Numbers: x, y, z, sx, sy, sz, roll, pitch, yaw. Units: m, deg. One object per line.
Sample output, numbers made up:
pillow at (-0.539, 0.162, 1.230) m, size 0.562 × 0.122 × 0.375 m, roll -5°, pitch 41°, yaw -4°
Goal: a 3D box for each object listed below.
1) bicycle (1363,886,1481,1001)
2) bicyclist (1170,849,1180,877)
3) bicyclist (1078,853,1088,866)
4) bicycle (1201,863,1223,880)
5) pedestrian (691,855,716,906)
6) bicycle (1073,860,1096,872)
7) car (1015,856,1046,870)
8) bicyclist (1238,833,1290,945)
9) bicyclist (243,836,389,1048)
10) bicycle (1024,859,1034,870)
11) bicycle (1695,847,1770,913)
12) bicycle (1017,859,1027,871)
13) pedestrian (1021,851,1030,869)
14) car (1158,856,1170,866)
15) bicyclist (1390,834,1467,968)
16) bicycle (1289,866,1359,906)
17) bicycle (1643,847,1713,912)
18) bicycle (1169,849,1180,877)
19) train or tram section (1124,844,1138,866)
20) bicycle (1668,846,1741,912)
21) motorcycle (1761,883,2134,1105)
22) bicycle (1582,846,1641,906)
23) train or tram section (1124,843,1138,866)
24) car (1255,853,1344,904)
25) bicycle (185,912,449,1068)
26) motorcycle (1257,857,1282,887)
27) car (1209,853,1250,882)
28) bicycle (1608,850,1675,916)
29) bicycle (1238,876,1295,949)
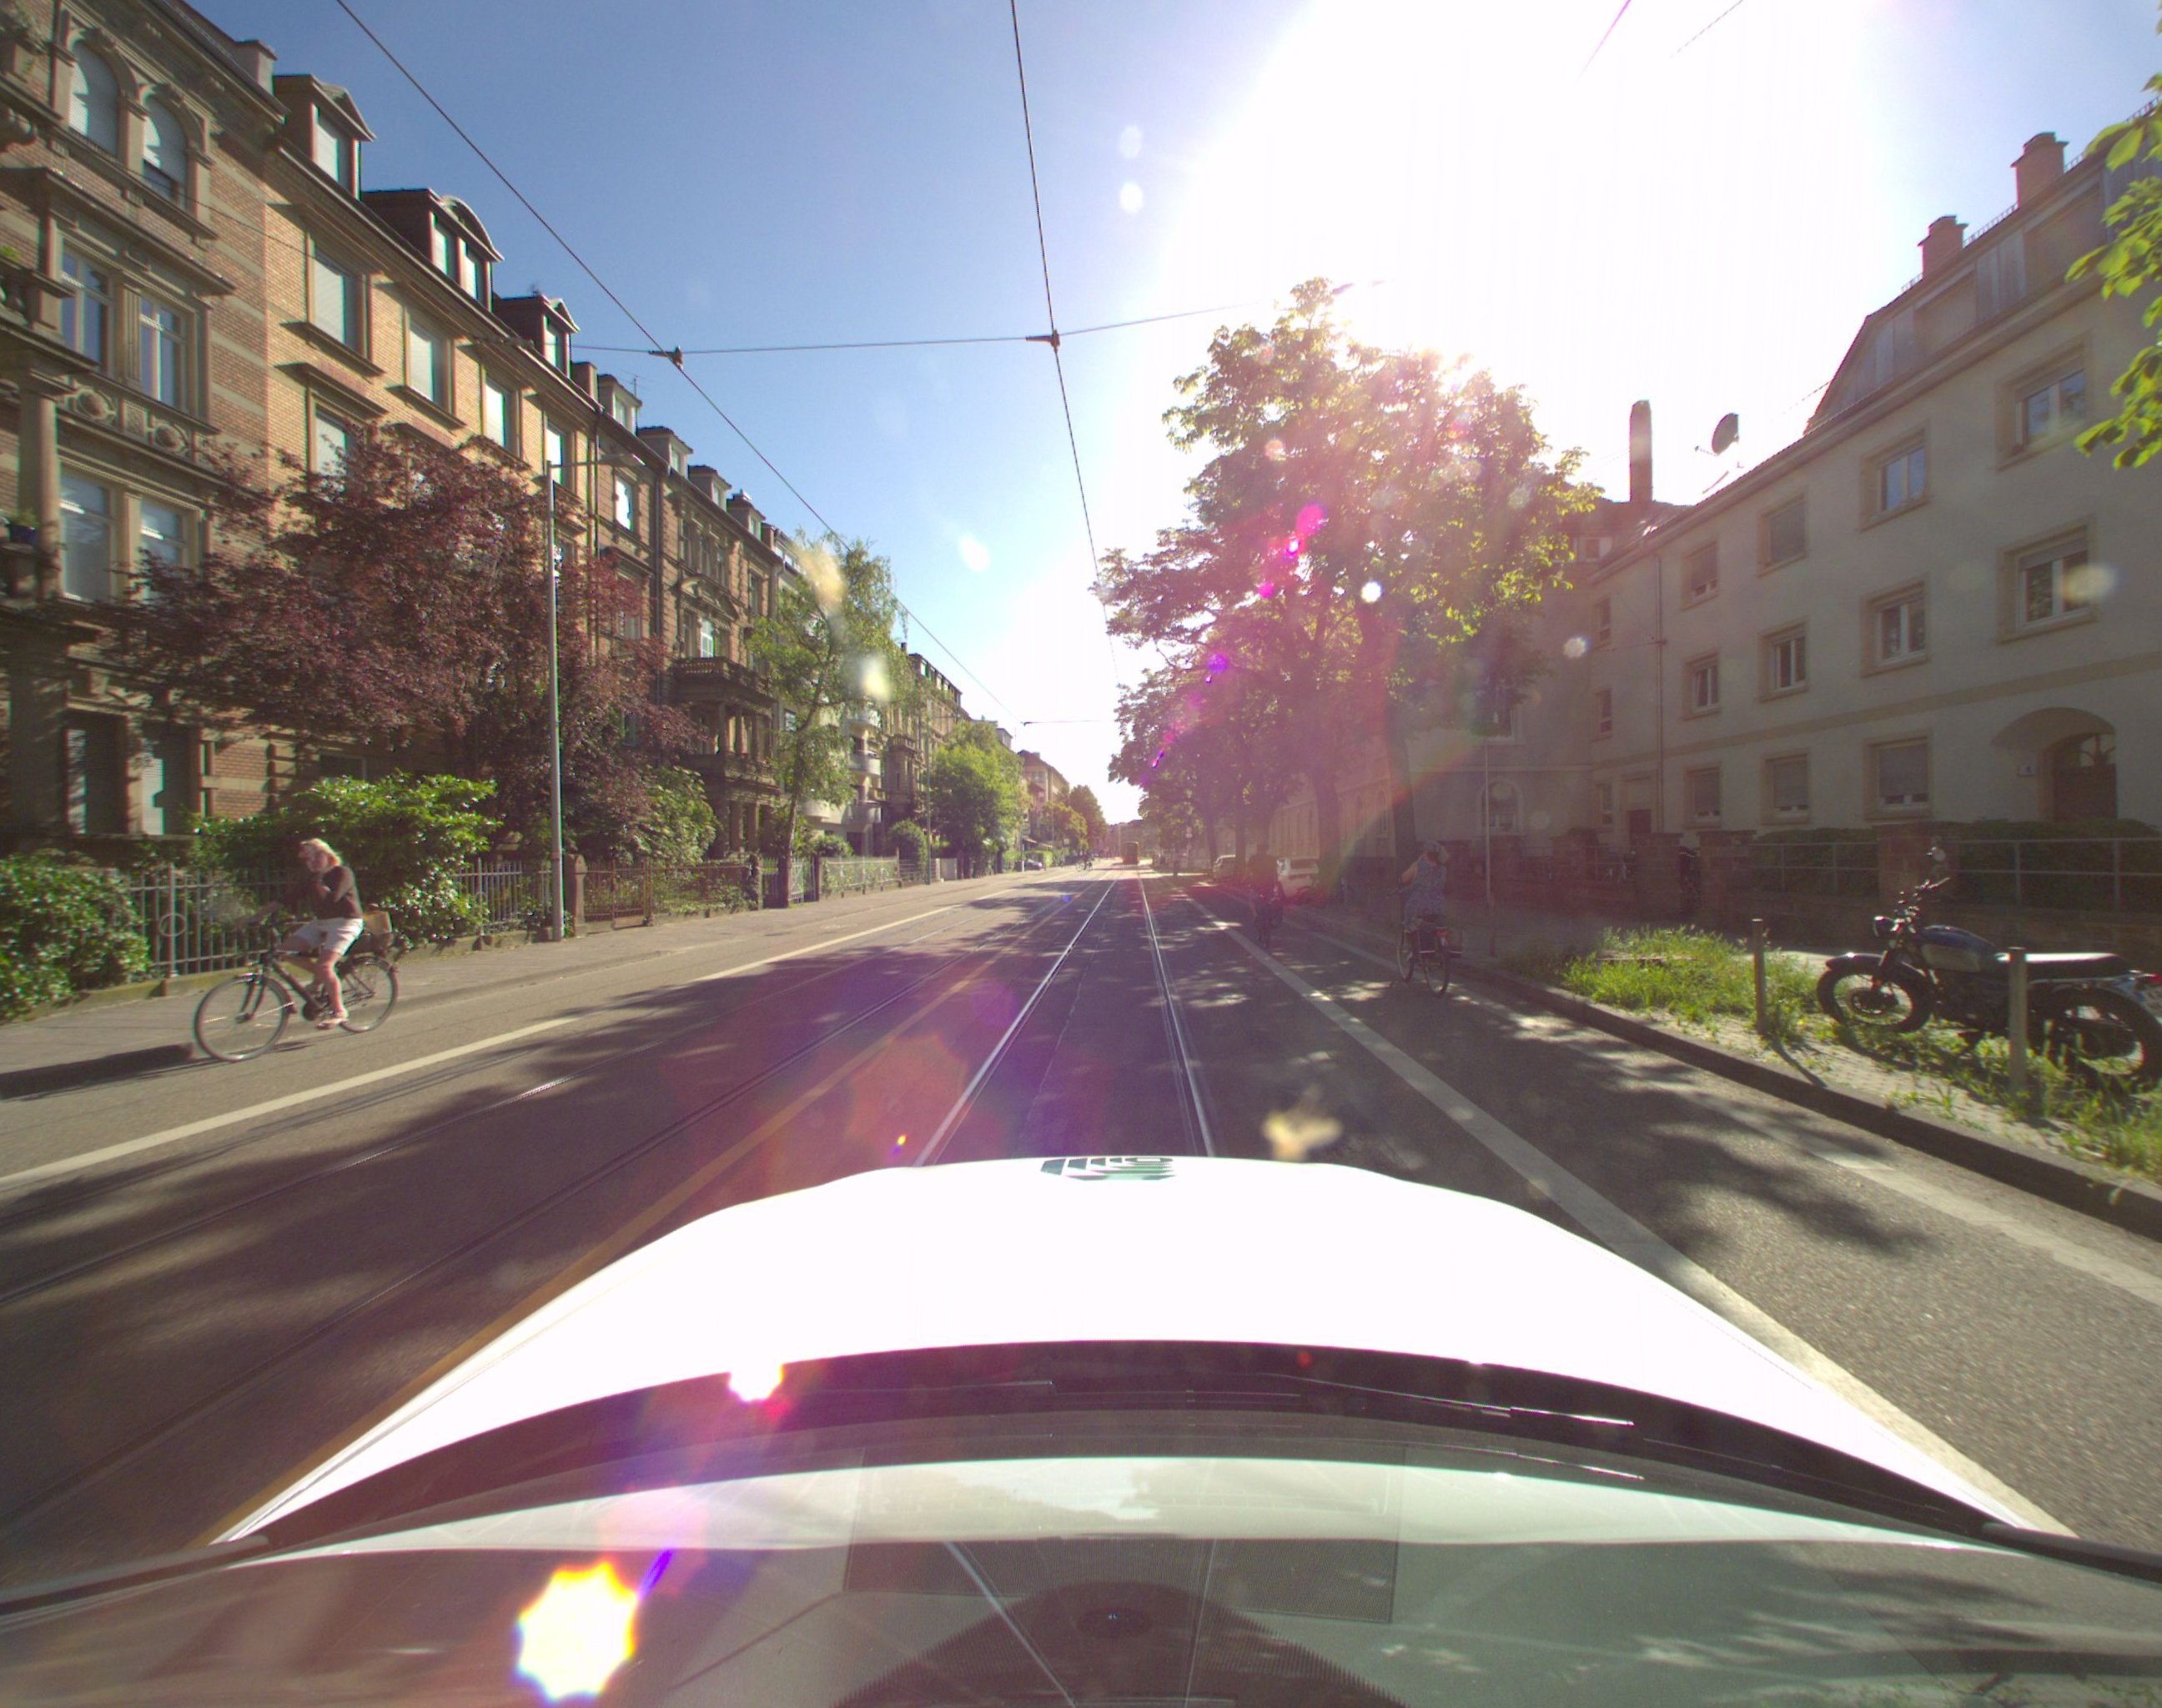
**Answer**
bicycle at (3.903, 0.972, 9.488) m, size 0.689 × 1.112 × 1.919 m, roll 0°, pitch 0°, yaw 4°
bicyclist at (6.281, 0.596, 54.466) m, size 0.642 × 1.796 × 0.956 m, roll 0°, pitch 0°, yaw 3°
bicyclist at (0.223, 0.505, 79.358) m, size 0.766 × 1.291 × 0.737 m, roll 0°, pitch 0°, yaw 19°
bicycle at (8.114, 1.080, 50.372) m, size 1.262 × 1.024 × 0.706 m, roll 1°, pitch -1°, yaw 11°
pedestrian at (-12.476, 0.868, 26.944) m, size 0.511 × 1.673 × 0.607 m, roll 0°, pitch 0°, yaw 3°
bicycle at (0.329, 1.154, 79.346) m, size 2.122 × 1.171 × 0.806 m, roll 0°, pitch 0°, yaw 18°
car at (-5.531, 1.024, 89.392) m, size 1.768 × 1.420 × 3.539 m, roll 0°, pitch -2°, yaw -37°
bicyclist at (3.116, 0.571, 13.920) m, size 0.724 × 1.848 × 0.837 m, roll 0°, pitch 0°, yaw 3°
bicyclist at (-6.883, 0.764, 7.353) m, size 0.657 × 1.801 × 0.616 m, roll -3°, pitch -1°, yaw 3°
bicycle at (-4.920, 1.001, 77.055) m, size 0.633 × 1.069 × 1.823 m, roll 0°, pitch 0°, yaw -14°
bicycle at (12.612, 0.472, 15.802) m, size 0.432 × 1.223 × 1.374 m, roll 0°, pitch 0°, yaw 4°
bicycle at (-5.539, 1.044, 76.379) m, size 0.633 × 1.069 × 1.823 m, roll 0°, pitch 0°, yaw -13°
pedestrian at (-5.409, 0.580, 79.301) m, size 0.766 × 1.712 × 0.670 m, roll 0°, pitch 0°, yaw 3°
car at (13.017, 1.140, 127.582) m, size 1.747 × 1.552 × 3.680 m, roll 0°, pitch 0°, yaw 3°
bicyclist at (3.941, 0.517, 9.279) m, size 0.632 × 1.468 × 0.616 m, roll 0°, pitch 0°, yaw 3°
bicycle at (6.970, 0.922, 23.429) m, size 1.785 × 1.019 × 0.621 m, roll -3°, pitch 0°, yaw 2°
bicycle at (11.603, 0.476, 15.861) m, size 0.432 × 1.223 × 1.374 m, roll 0°, pitch 0°, yaw 4°
bicycle at (6.355, 0.576, 55.176) m, size 0.660 × 1.859 × 2.263 m, roll 0°, pitch 0°, yaw 5°
train or tram section at (8.027, 0.076, 131.186) m, size 2.144 × 3.431 × 6.617 m, roll 0°, pitch 0°, yaw 3°
bicycle at (12.097, 0.466, 15.834) m, size 0.432 × 1.223 × 1.374 m, roll 0°, pitch 0°, yaw 4°
motorcycle at (5.900, 0.857, 5.741) m, size 0.494 × 1.190 × 1.859 m, roll -5°, pitch 1°, yaw -4°
bicycle at (11.257, 0.453, 17.304) m, size 0.432 × 1.223 × 1.374 m, roll 0°, pitch 0°, yaw 4°
train or tram section at (7.623, 0.088, 124.560) m, size 2.144 × 3.431 × 6.617 m, roll 0°, pitch 0°, yaw 3°
car at (6.906, 0.709, 26.228) m, size 1.623 × 1.436 × 4.665 m, roll -2°, pitch 0°, yaw 0°
bicycle at (-6.857, 1.160, 7.454) m, size 0.689 × 1.112 × 1.720 m, roll -2°, pitch 0°, yaw 4°
motorcycle at (8.385, 0.796, 36.252) m, size 0.707 × 1.243 × 2.186 m, roll -2°, pitch 0°, yaw 3°
car at (8.138, 0.710, 44.931) m, size 1.741 × 1.420 × 4.003 m, roll -2°, pitch 0°, yaw 3°
bicycle at (10.904, 0.537, 15.876) m, size 0.432 × 1.223 × 1.374 m, roll 0°, pitch 0°, yaw 4°
bicycle at (3.132, 0.963, 13.896) m, size 0.689 × 1.112 × 1.720 m, roll 0°, pitch 0°, yaw 4°
